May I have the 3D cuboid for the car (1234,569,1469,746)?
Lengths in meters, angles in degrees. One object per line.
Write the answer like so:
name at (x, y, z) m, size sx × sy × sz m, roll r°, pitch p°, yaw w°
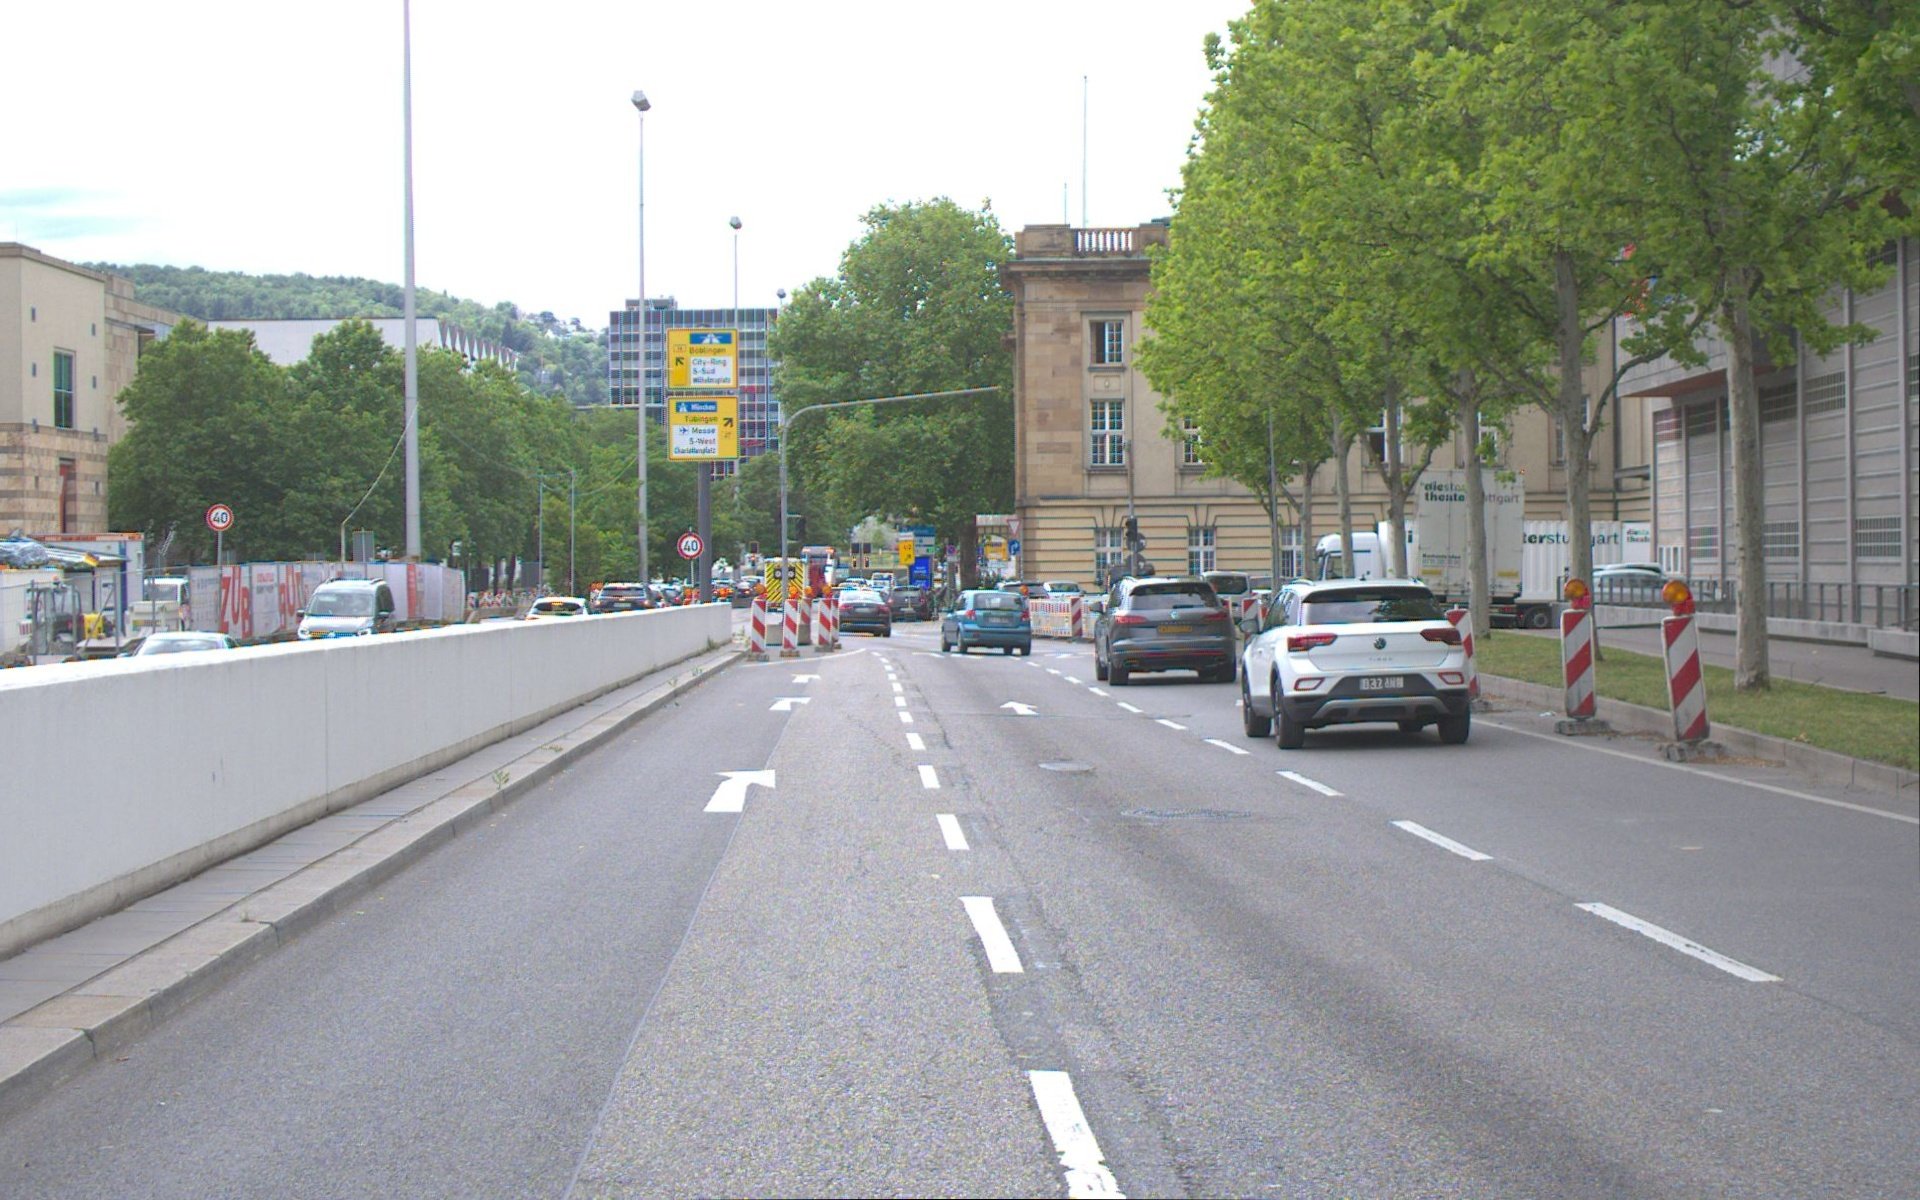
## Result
car at (3.705, 0.502, 33.213) m, size 1.750 × 1.562 × 4.331 m, roll -1°, pitch 1°, yaw 0°

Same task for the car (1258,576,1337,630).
car at (10.039, 0.104, 102.423) m, size 1.856 × 1.562 × 4.331 m, roll 0°, pitch 0°, yaw -1°

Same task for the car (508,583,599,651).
car at (-9.672, 0.396, 82.010) m, size 1.750 × 1.562 × 3.377 m, roll 1°, pitch 0°, yaw 0°

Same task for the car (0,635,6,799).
car at (-12.804, 1.517, 40.685) m, size 1.993 × 2.006 × 4.001 m, roll -1°, pitch 2°, yaw -2°

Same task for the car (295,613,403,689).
car at (-13.682, 1.125, 77.146) m, size 1.750 × 1.562 × 3.377 m, roll -3°, pitch 0°, yaw 0°

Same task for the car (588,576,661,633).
car at (-9.821, 0.128, 100.918) m, size 1.750 × 1.562 × 3.377 m, roll -3°, pitch 0°, yaw 0°

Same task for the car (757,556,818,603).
car at (-8.989, -1.100, 179.171) m, size 2.582 × 2.366 × 5.526 m, roll -1°, pitch 1°, yaw 3°

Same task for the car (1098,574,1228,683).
car at (3.151, 0.416, 54.101) m, size 1.823 × 1.562 × 4.480 m, roll -2°, pitch 0°, yaw 1°

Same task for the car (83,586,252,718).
car at (-13.283, 0.831, 57.835) m, size 1.993 × 2.006 × 4.001 m, roll -1°, pitch 2°, yaw -2°

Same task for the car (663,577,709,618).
car at (-10.594, -0.090, 133.295) m, size 1.750 × 1.562 × 4.332 m, roll 0°, pitch 0°, yaw -4°

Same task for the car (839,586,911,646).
car at (-2.595, 0.466, 105.890) m, size 1.823 × 1.735 × 4.479 m, roll -1°, pitch 1°, yaw 3°

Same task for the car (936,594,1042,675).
car at (0.628, 0.757, 78.648) m, size 1.823 × 1.735 × 4.481 m, roll -1°, pitch 1°, yaw -7°

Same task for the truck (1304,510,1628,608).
truck at (16.217, -1.298, 110.613) m, size 10.029 × 3.040 × 2.569 m, roll 0°, pitch -1°, yaw 0°

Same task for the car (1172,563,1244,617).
car at (7.390, -0.281, 102.809) m, size 1.750 × 1.562 × 4.331 m, roll 0°, pitch 0°, yaw -1°
